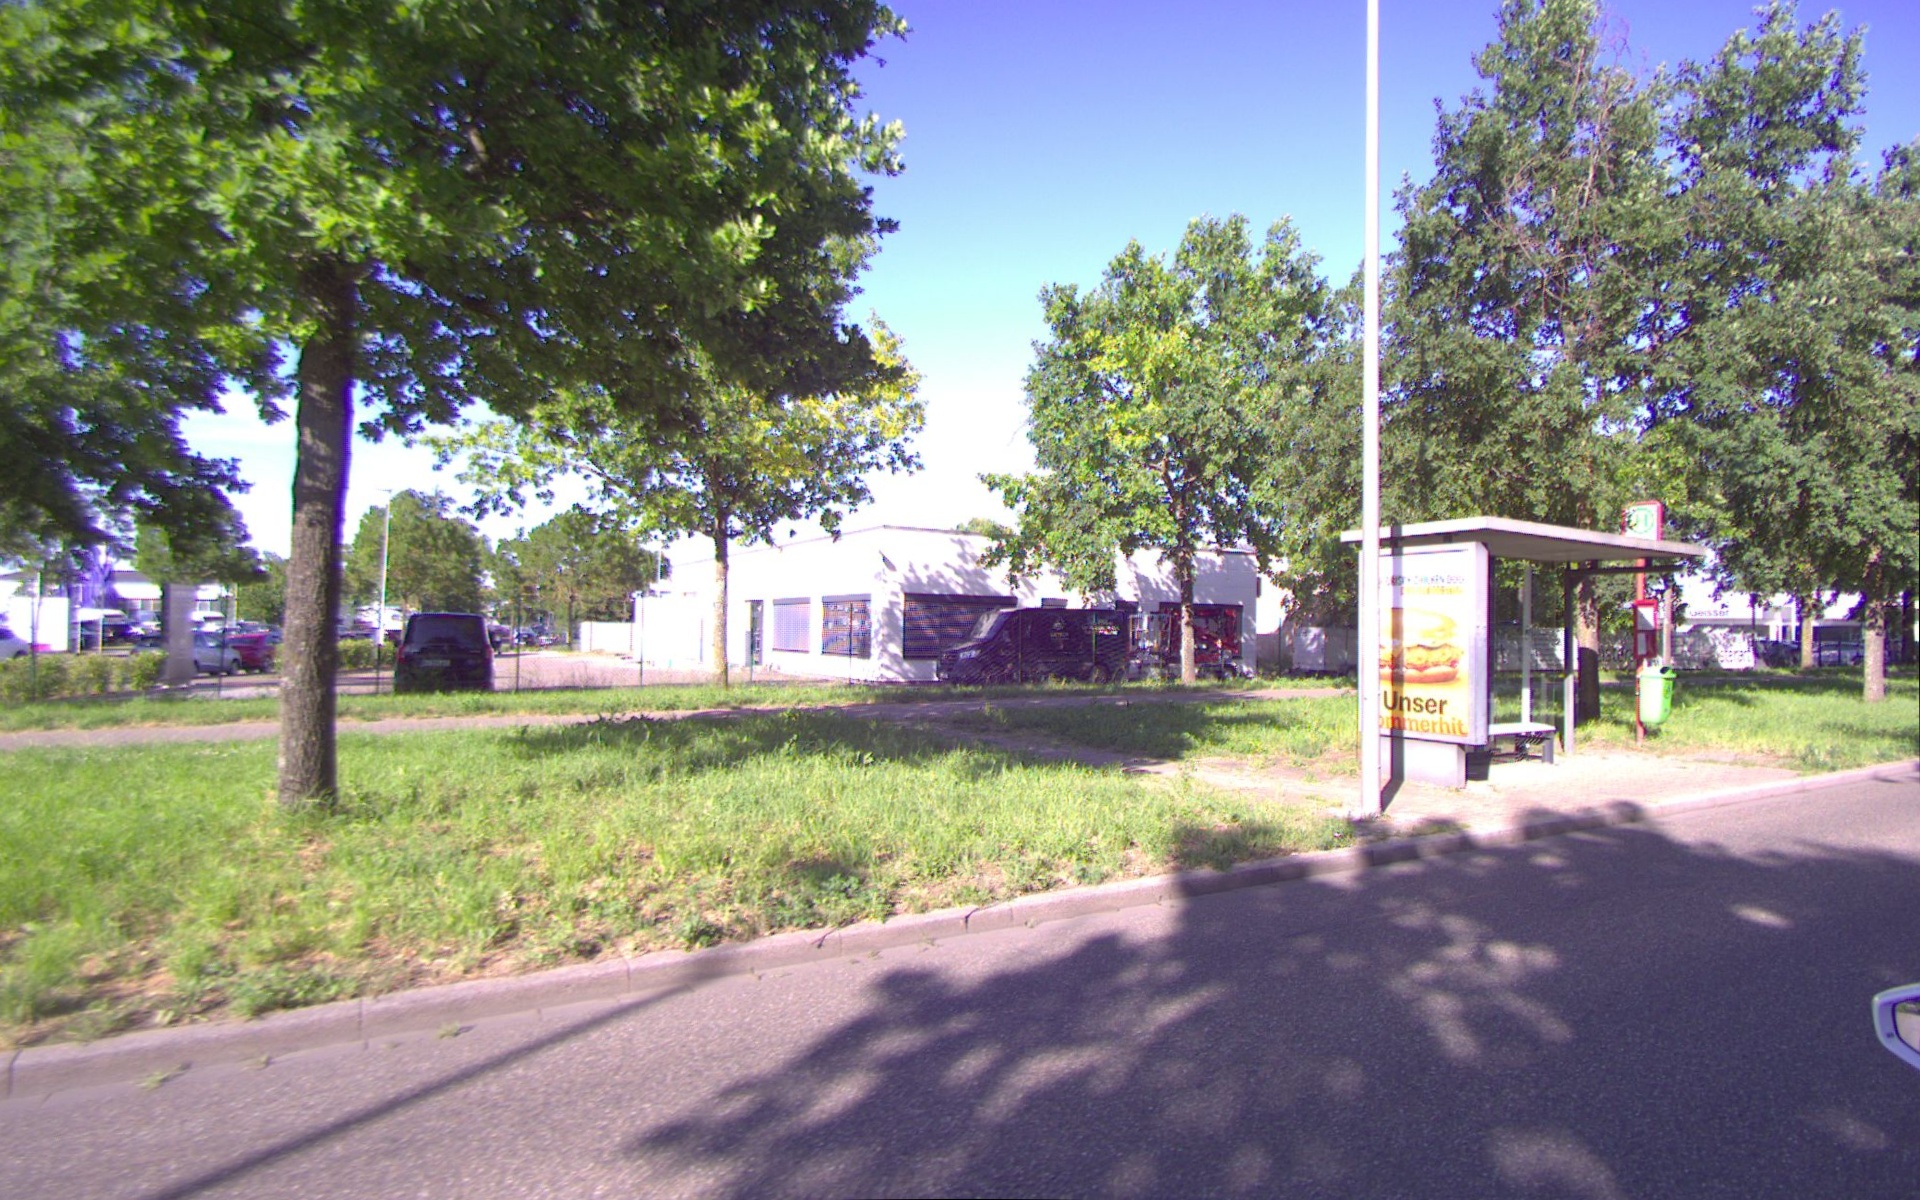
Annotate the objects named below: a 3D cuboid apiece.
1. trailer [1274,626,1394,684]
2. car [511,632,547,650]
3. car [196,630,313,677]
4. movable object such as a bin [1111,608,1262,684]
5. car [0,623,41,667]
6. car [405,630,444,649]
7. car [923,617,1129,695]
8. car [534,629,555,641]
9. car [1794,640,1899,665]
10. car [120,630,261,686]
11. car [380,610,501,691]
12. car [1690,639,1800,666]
[{"bbox_3d":[13.222,1.892,35.506,3.695,1.940,2.093,1,-2,-29],"label":"trailer"},{"bbox_3d":[-36.479,3.451,85.020,1.768,1.531,3.995,1,-2,-8],"label":"car"},{"bbox_3d":[-25.192,1.872,36.038,1.768,1.531,3.995,0,-1,-8],"label":"car"},{"bbox_3d":[7.180,1.419,31.771,4.407,2.246,2.093,1,-2,-30],"label":"movable object such as a bin"},{"bbox_3d":[-34.568,1.585,35.056,1.769,1.531,3.993,0,-1,-10],"label":"car"},{"bbox_3d":[-45.641,3.347,85.611,1.769,1.531,3.993,0,-1,-10],"label":"car"},{"bbox_3d":[1.937,1.561,28.583,5.740,2.015,2.026,2,-2,-31],"label":"car"},{"bbox_3d":[-56.296,4.731,136.171,1.769,1.531,3.993,0,-1,-10],"label":"car"},{"bbox_3d":[50.955,2.984,57.816,1.920,1.305,4.176,1,-2,-32],"label":"car"},{"bbox_3d":[-24.163,1.778,31.726,1.768,1.597,3.995,0,-1,-8],"label":"car"},{"bbox_3d":[-11.002,1.011,21.127,1.920,1.499,4.477,2,-2,-32],"label":"car"},{"bbox_3d":[41.400,2.743,53.067,1.920,1.305,4.176,1,-2,-32],"label":"car"}]
